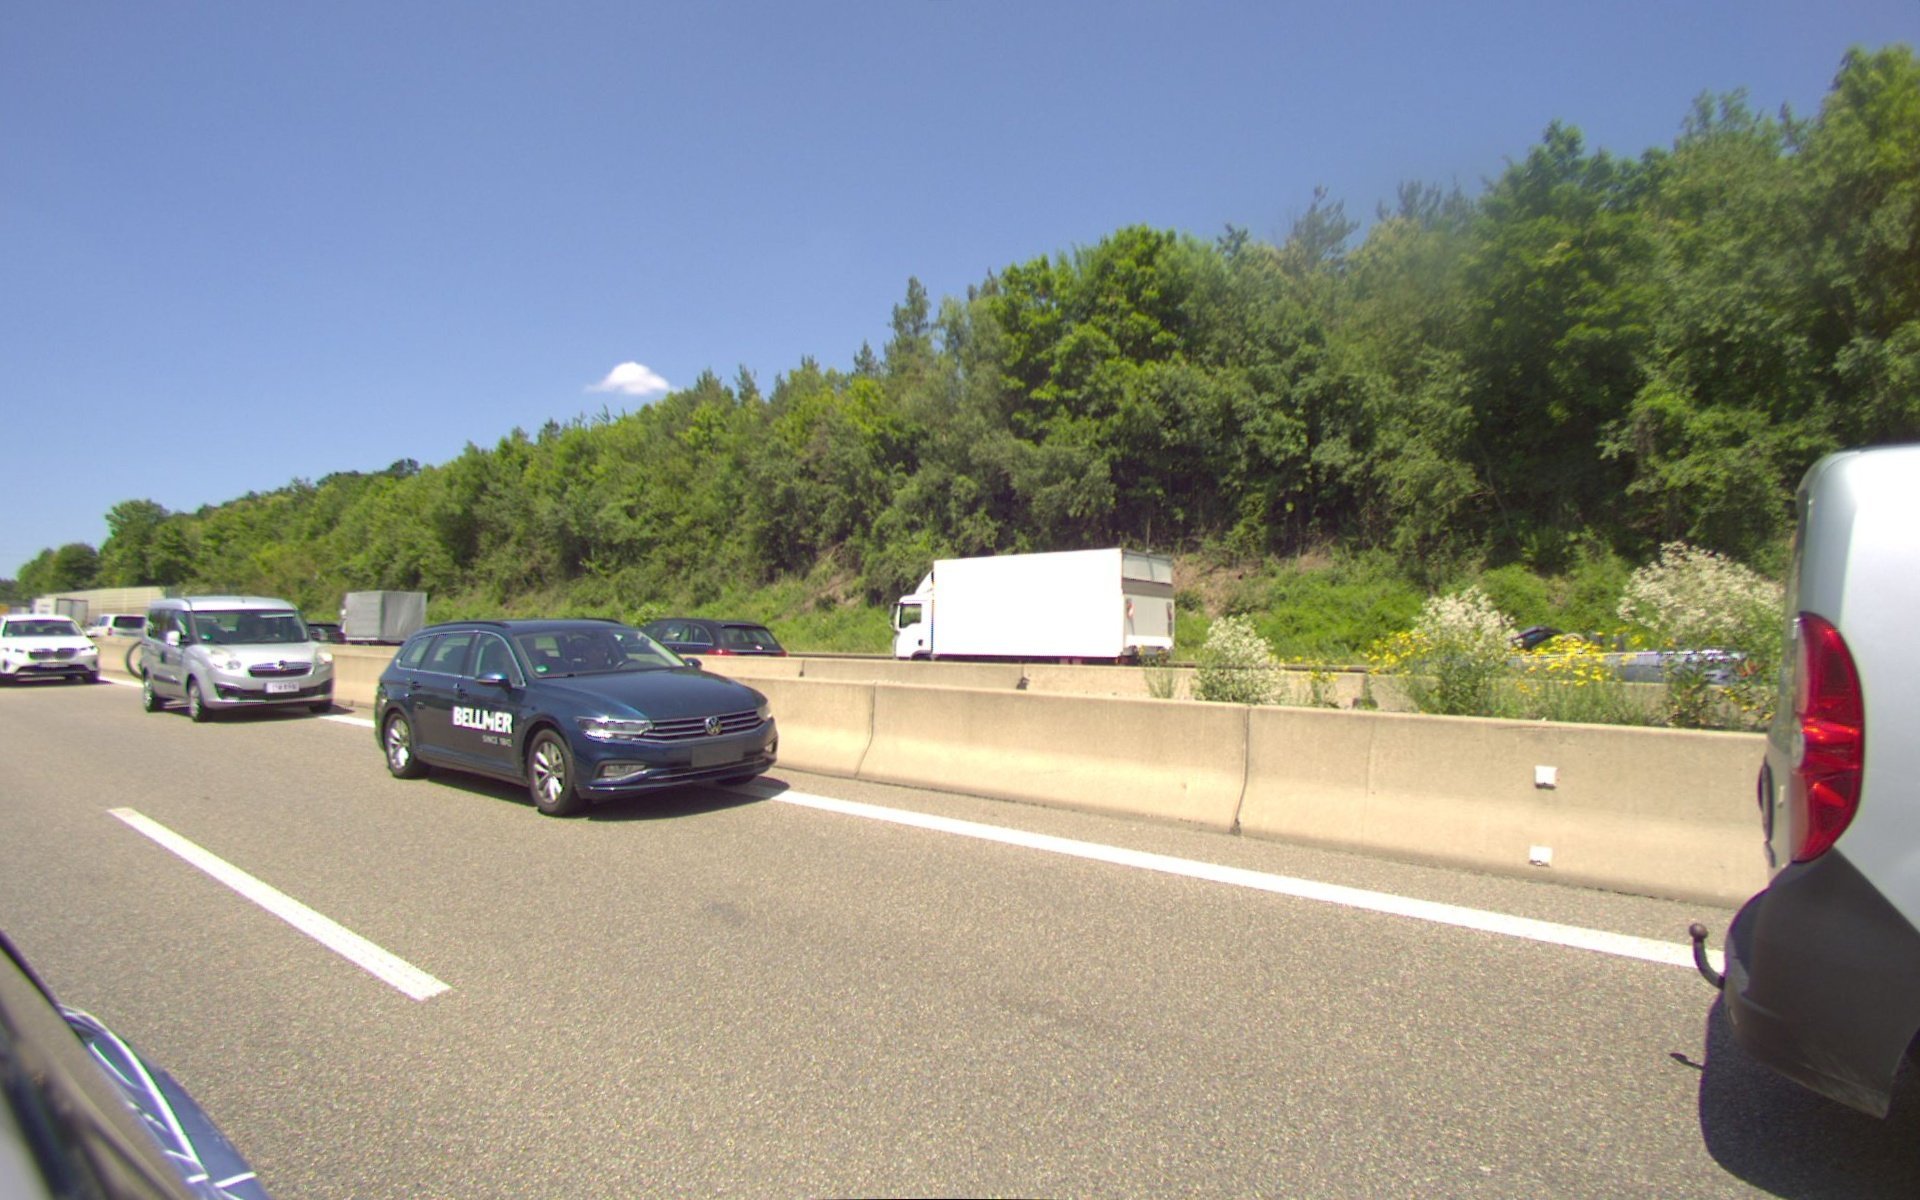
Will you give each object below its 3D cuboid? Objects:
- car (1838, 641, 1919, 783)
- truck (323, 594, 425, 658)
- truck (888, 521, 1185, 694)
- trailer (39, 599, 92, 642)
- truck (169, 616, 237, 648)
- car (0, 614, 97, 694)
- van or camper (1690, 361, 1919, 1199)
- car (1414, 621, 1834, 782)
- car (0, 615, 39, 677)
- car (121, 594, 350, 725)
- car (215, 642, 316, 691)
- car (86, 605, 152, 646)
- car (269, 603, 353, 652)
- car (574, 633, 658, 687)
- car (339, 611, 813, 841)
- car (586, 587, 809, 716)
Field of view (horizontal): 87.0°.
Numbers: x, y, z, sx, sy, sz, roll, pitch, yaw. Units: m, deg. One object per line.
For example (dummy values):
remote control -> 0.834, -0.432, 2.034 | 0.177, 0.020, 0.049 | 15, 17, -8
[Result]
car -> 15.752, 1.705, 15.056 | 3.997, 2.029, 1.973 | 0, 0, 40
truck -> -28.511, 1.207, 49.122 | 6.738, 2.906, 2.155 | 0, 0, 40
truck -> 1.808, 0.187, 27.198 | 7.986, 4.019, 2.664 | 0, 0, 41
trailer -> -96.762, 2.124, 109.408 | 10.810, 4.515, 2.919 | 0, 0, 41
truck -> -52.104, 2.176, 69.586 | 6.487, 2.029, 2.327 | 0, 0, 40
car -> -22.271, 1.224, 24.302 | 3.998, 1.719, 1.800 | 0, 0, 41
van or camper -> 3.991, 0.405, 1.473 | 4.559, 1.894, 1.833 | -2, -1, 42
car -> 7.860, 1.060, 12.173 | 3.998, 1.531, 1.973 | 0, 0, 41
car -> -29.516, 1.366, 30.551 | 3.996, 1.770, 1.974 | 0, 0, 39
car -> -11.623, 0.819, 16.094 | 4.914, 1.786, 1.833 | 0, 0, 40
car -> -23.553, 2.198, 34.276 | 3.997, 1.506, 1.806 | -2, -2, 40
car -> -43.849, 1.256, 52.748 | 4.956, 2.029, 1.972 | 0, 0, 42
car -> -28.331, 1.131, 44.118 | 4.418, 2.029, 1.972 | 0, 0, 42
car -> -14.243, 2.431, 41.860 | 3.511, 2.029, 1.832 | 0, 0, 41
car -> -3.519, 0.842, 8.753 | 4.675, 1.461, 1.855 | -1, -1, 41
car -> -4.738, 0.812, 17.990 | 3.999, 2.029, 1.972 | 0, 0, 42
